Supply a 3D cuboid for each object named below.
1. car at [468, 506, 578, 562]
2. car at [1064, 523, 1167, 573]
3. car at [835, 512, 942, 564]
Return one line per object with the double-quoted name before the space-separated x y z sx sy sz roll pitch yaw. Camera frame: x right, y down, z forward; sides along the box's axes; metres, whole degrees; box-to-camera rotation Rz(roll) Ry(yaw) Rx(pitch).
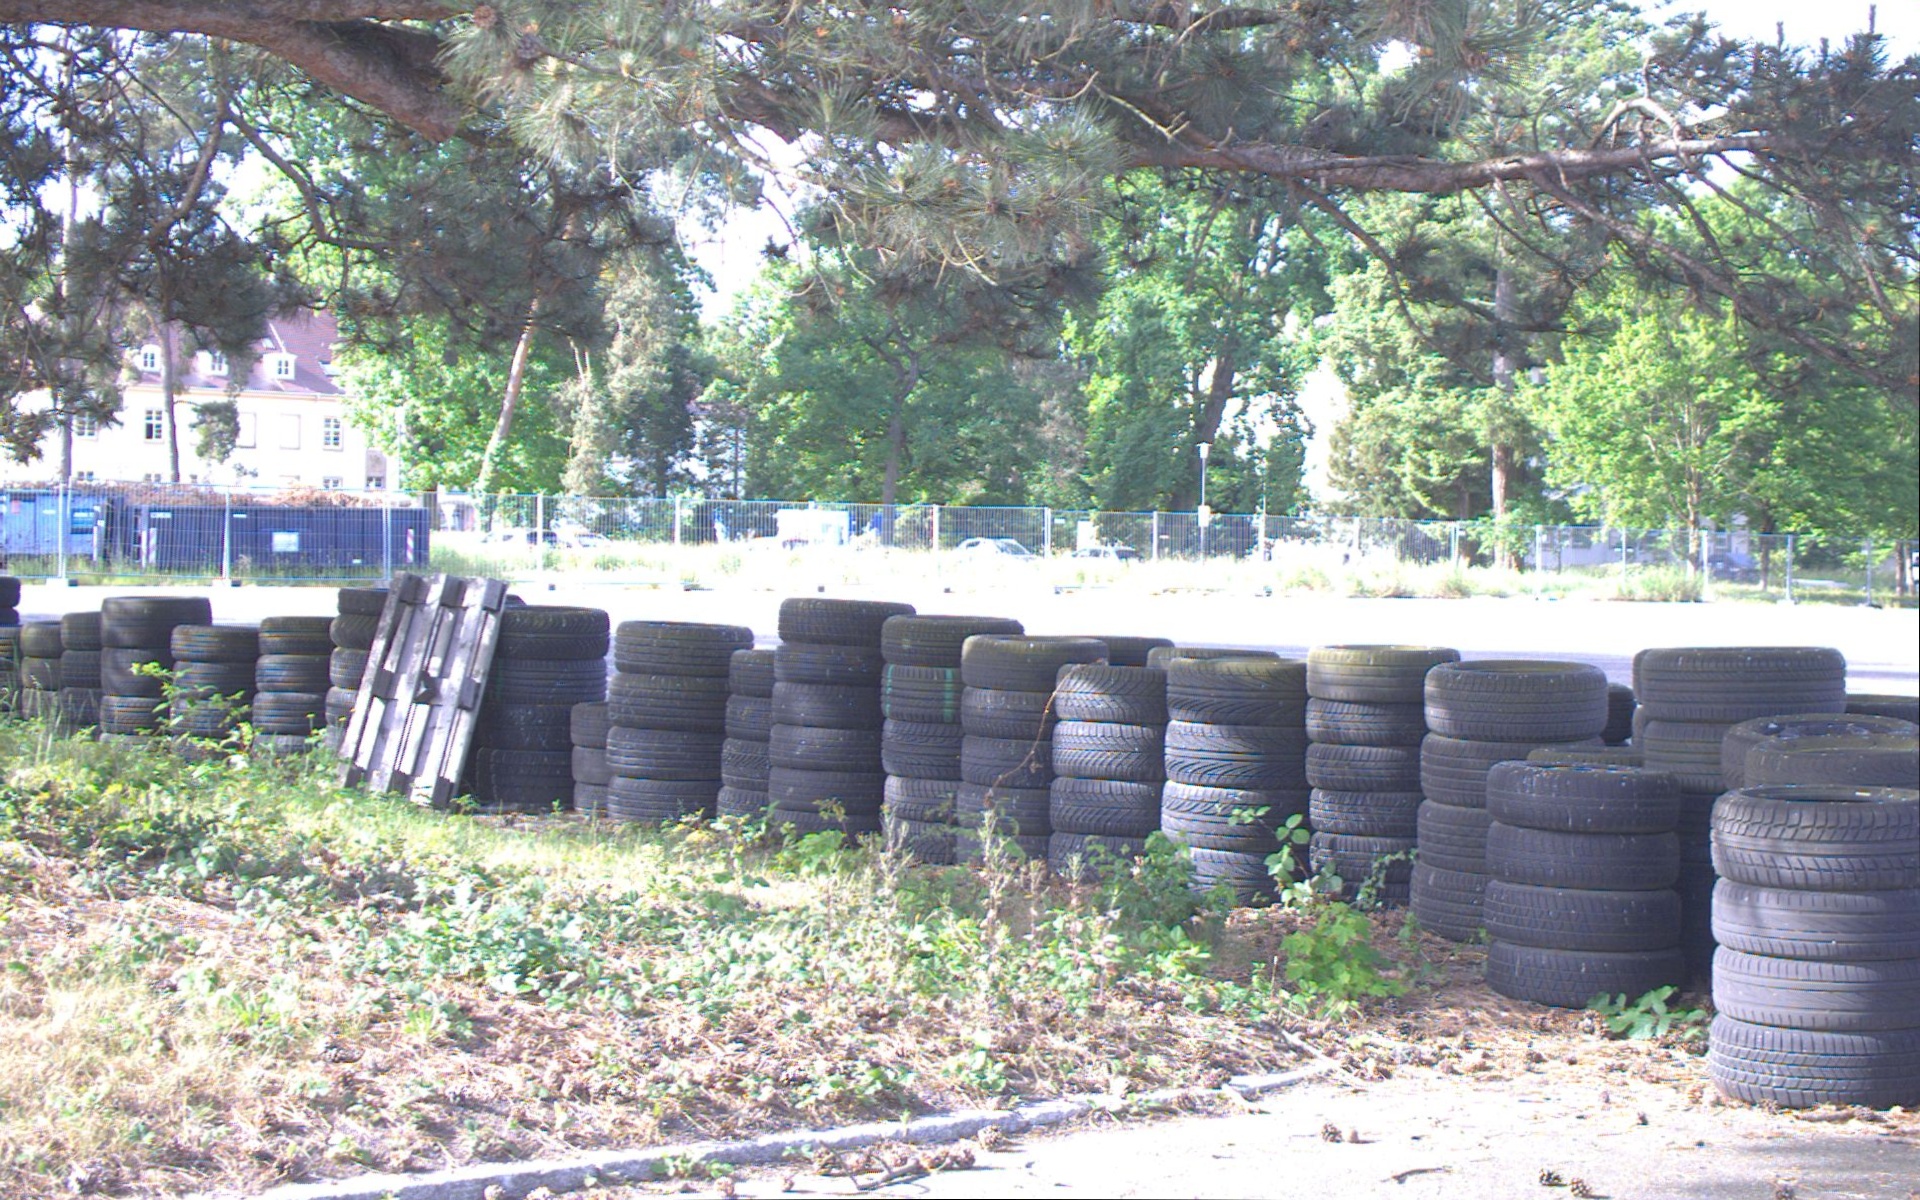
"car" -14.306 -2.159 112.399 1.994 1.744 4.000 1 1 -34
"car" 5.772 -1.951 128.053 1.993 1.744 4.001 1 1 -29
"car" -2.541 -2.187 121.669 1.993 1.744 4.000 1 1 -31
